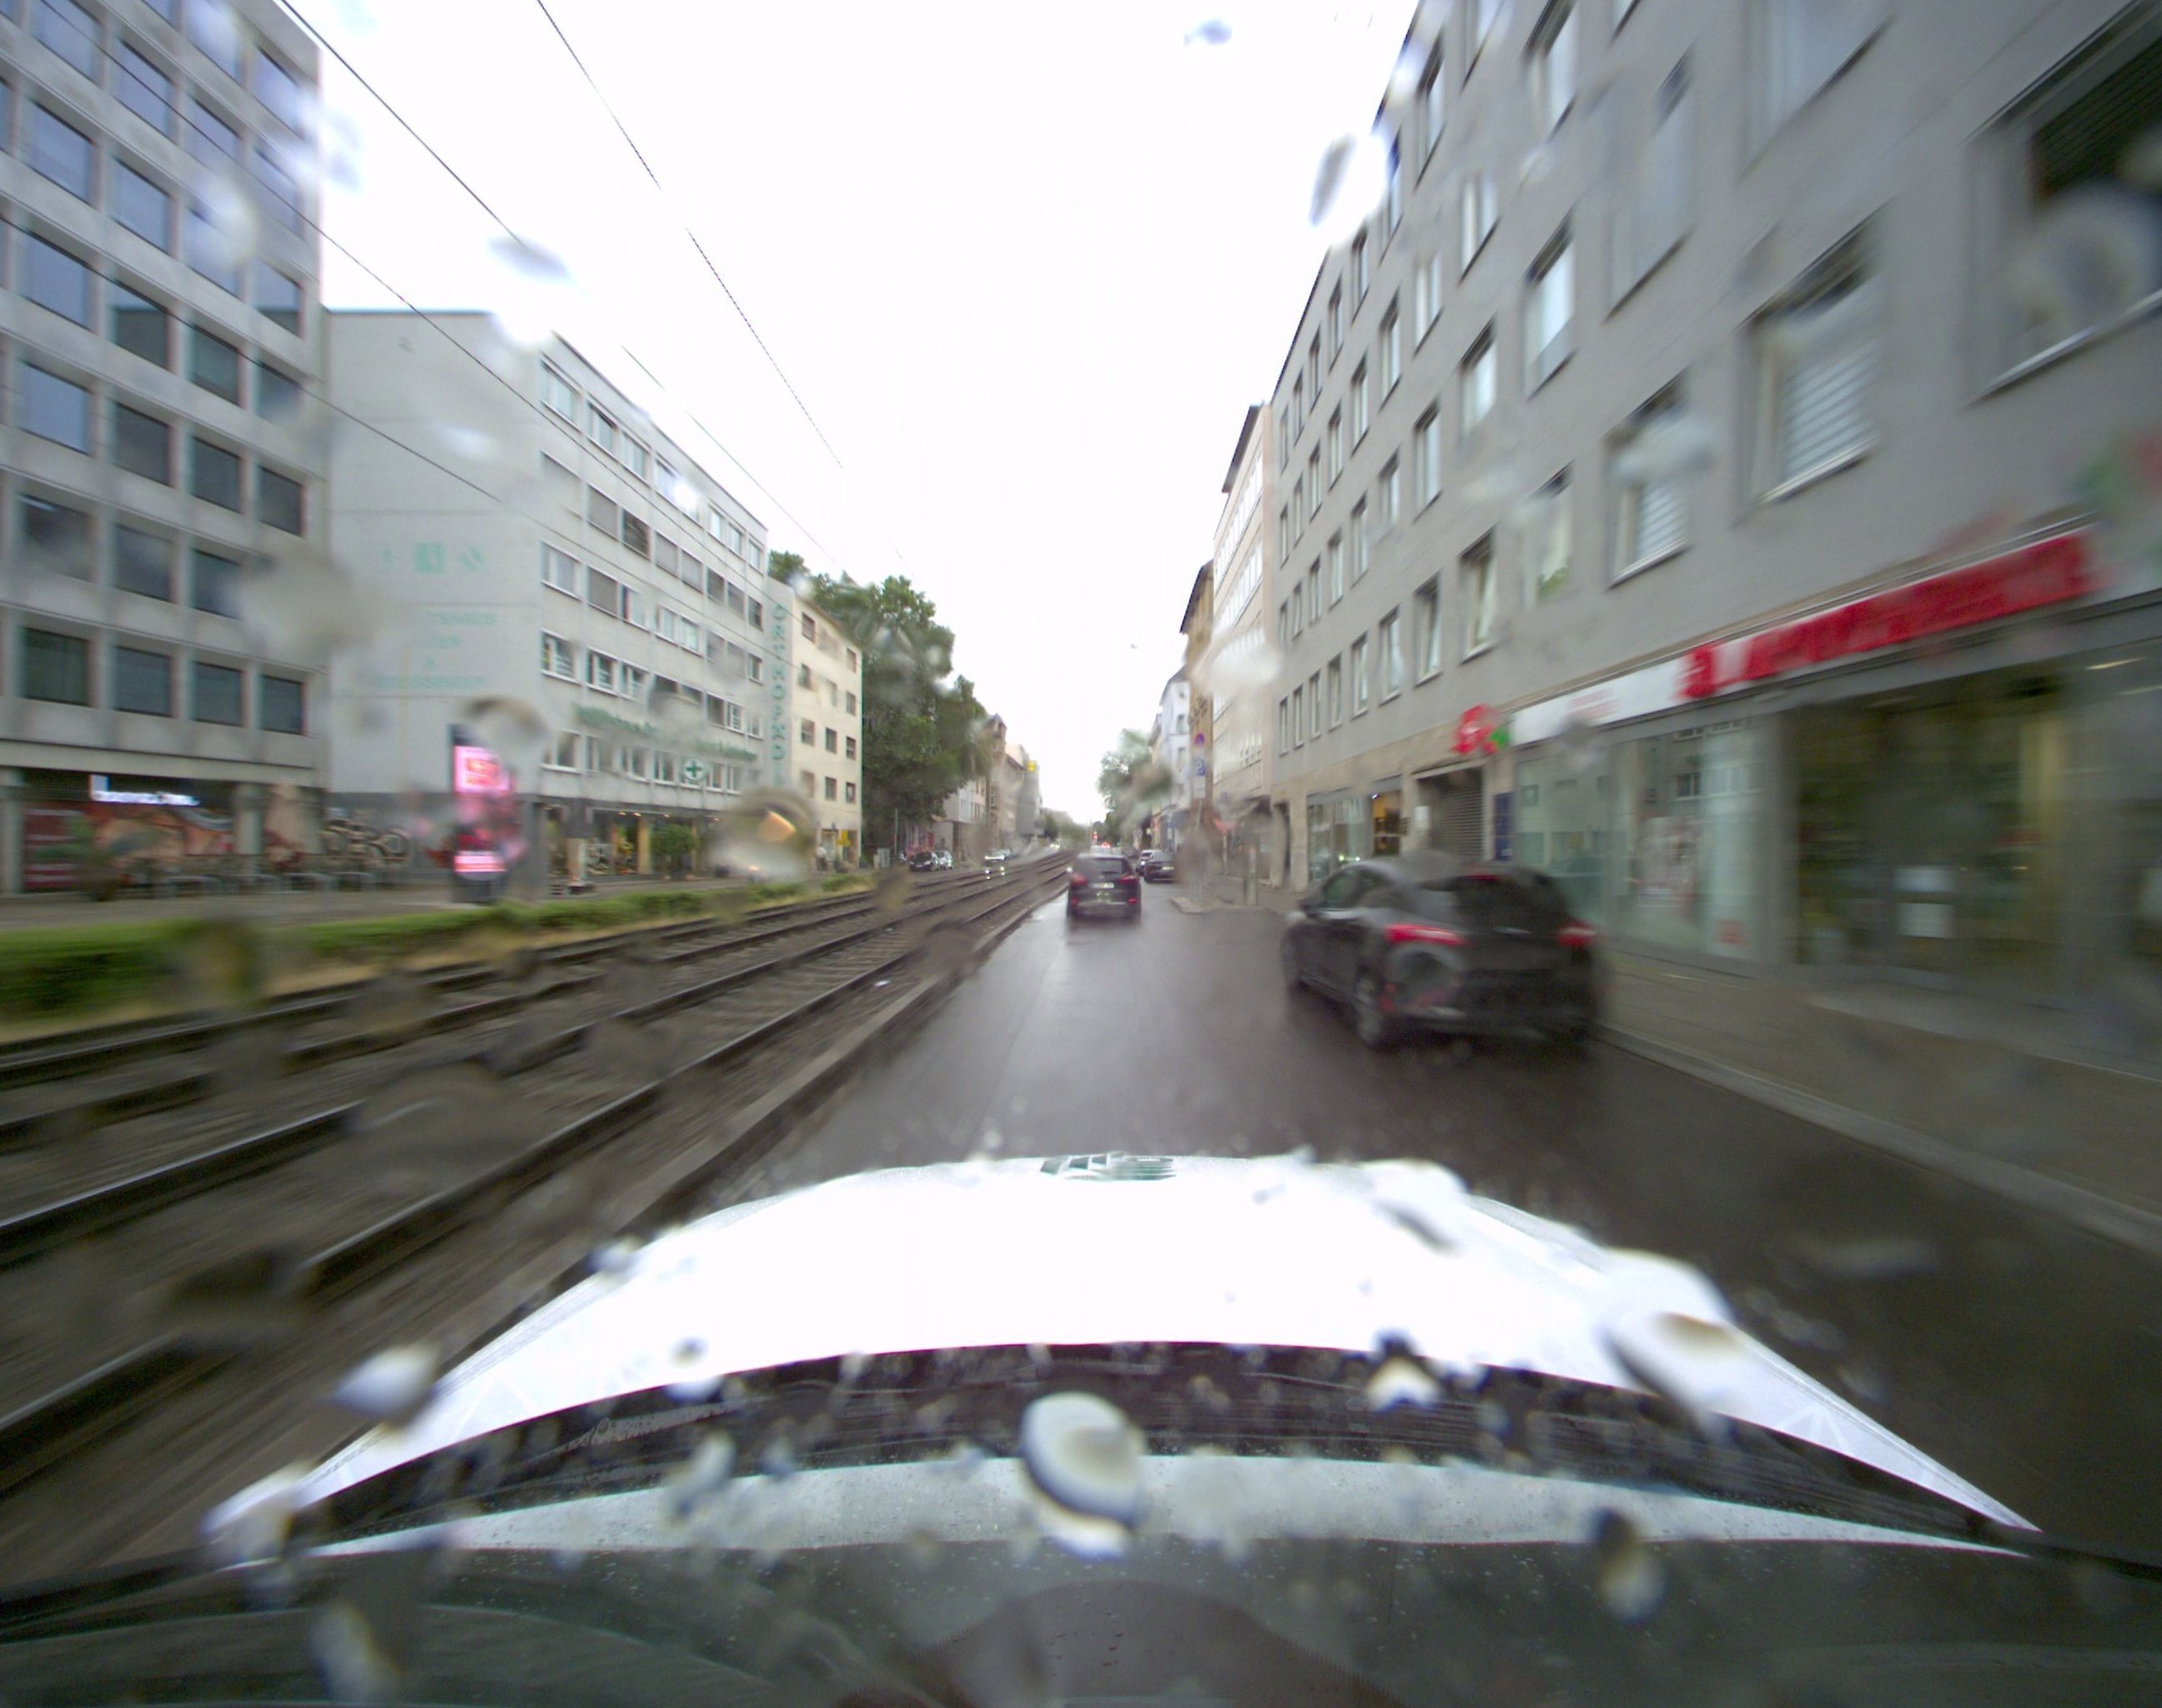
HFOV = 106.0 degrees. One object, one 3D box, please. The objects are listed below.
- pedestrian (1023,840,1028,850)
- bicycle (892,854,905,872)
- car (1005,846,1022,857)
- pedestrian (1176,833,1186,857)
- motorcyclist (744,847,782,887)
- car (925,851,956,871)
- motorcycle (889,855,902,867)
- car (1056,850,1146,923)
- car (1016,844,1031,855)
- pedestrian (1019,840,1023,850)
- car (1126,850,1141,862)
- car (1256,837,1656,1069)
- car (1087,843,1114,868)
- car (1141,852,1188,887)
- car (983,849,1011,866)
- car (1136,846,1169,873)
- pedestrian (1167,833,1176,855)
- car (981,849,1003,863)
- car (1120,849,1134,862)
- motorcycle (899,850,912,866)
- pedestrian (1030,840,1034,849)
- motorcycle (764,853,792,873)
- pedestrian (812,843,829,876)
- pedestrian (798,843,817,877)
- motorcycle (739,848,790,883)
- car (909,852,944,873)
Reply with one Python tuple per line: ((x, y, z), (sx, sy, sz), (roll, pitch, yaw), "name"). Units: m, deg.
((-10.747, -1.782, 158.026), (0.741, 1.853, 0.839), (-1, -1, 1), "pedestrian")
((-13.215, 0.643, 59.031), (0.590, 1.226, 2.399), (1, 0, -5), "bicycle")
((-9.624, -0.323, 116.758), (1.986, 1.519, 4.678), (0, 1, 2), "car")
((8.526, -0.772, 69.446), (0.733, 2.013, 0.821), (0, 1, 1), "pedestrian")
((-9.804, 0.392, 25.106), (0.738, 1.217, 0.971), (0, 0, 3), "motorcyclist")
((-11.458, 0.526, 66.783), (1.715, 1.570, 4.222), (0, 1, 2), "car")
((-15.931, 0.585, 69.974), (0.637, 1.033, 2.120), (0, 1, 0), "motorcycle")
((0.530, 0.732, 20.212), (1.986, 1.594, 4.273), (-1, 0, 2), "car")
((-9.445, -0.749, 134.190), (1.987, 1.839, 5.071), (0, 1, 1), "car")
((-11.665, -1.751, 157.987), (0.741, 1.853, 0.839), (-1, -1, 1), "pedestrian")
((6.535, 0.251, 102.276), (1.732, 1.489, 4.001), (0, 1, 1), "car")
((3.059, 0.696, 7.794), (1.986, 1.594, 4.273), (-1, 0, 2), "car")
((1.531, 0.139, 62.281), (1.986, 1.816, 4.273), (-1, 0, 2), "car")
((3.956, 0.708, 39.193), (1.986, 1.594, 4.574), (-1, 0, 2), "car")
((-7.934, 0.296, 77.208), (1.986, 1.519, 4.446), (0, 1, 2), "car")
((4.391, 0.309, 50.576), (1.740, 1.523, 4.357), (0, 1, 1), "car")
((7.682, -0.842, 69.319), (0.659, 1.852, 0.821), (0, 1, 1), "pedestrian")
((-10.393, 0.198, 95.102), (1.986, 1.519, 4.437), (0, 1, 2), "car")
((6.014, 0.194, 106.766), (1.637, 1.515, 4.040), (0, 1, 1), "car")
((-15.657, 0.323, 72.642), (0.637, 1.379, 2.120), (0, 0, 0), "motorcycle")
((-9.818, -1.914, 163.987), (0.741, 1.853, 0.839), (-1, -1, 1), "pedestrian")
((-17.459, 0.513, 46.916), (1.472, 1.180, 0.386), (0, 0, 0), "motorcycle")
((-14.844, 0.318, 46.459), (0.676, 1.896, 0.743), (0, 0, 1), "pedestrian")
((-15.630, 0.330, 46.574), (0.724, 1.896, 0.983), (0, 0, 1), "pedestrian")
((-9.795, 0.339, 25.274), (0.739, 1.059, 1.933), (0, 0, 4), "motorcycle")
((-11.687, 0.619, 61.839), (1.737, 1.468, 4.222), (-1, 0, 2), "car")
